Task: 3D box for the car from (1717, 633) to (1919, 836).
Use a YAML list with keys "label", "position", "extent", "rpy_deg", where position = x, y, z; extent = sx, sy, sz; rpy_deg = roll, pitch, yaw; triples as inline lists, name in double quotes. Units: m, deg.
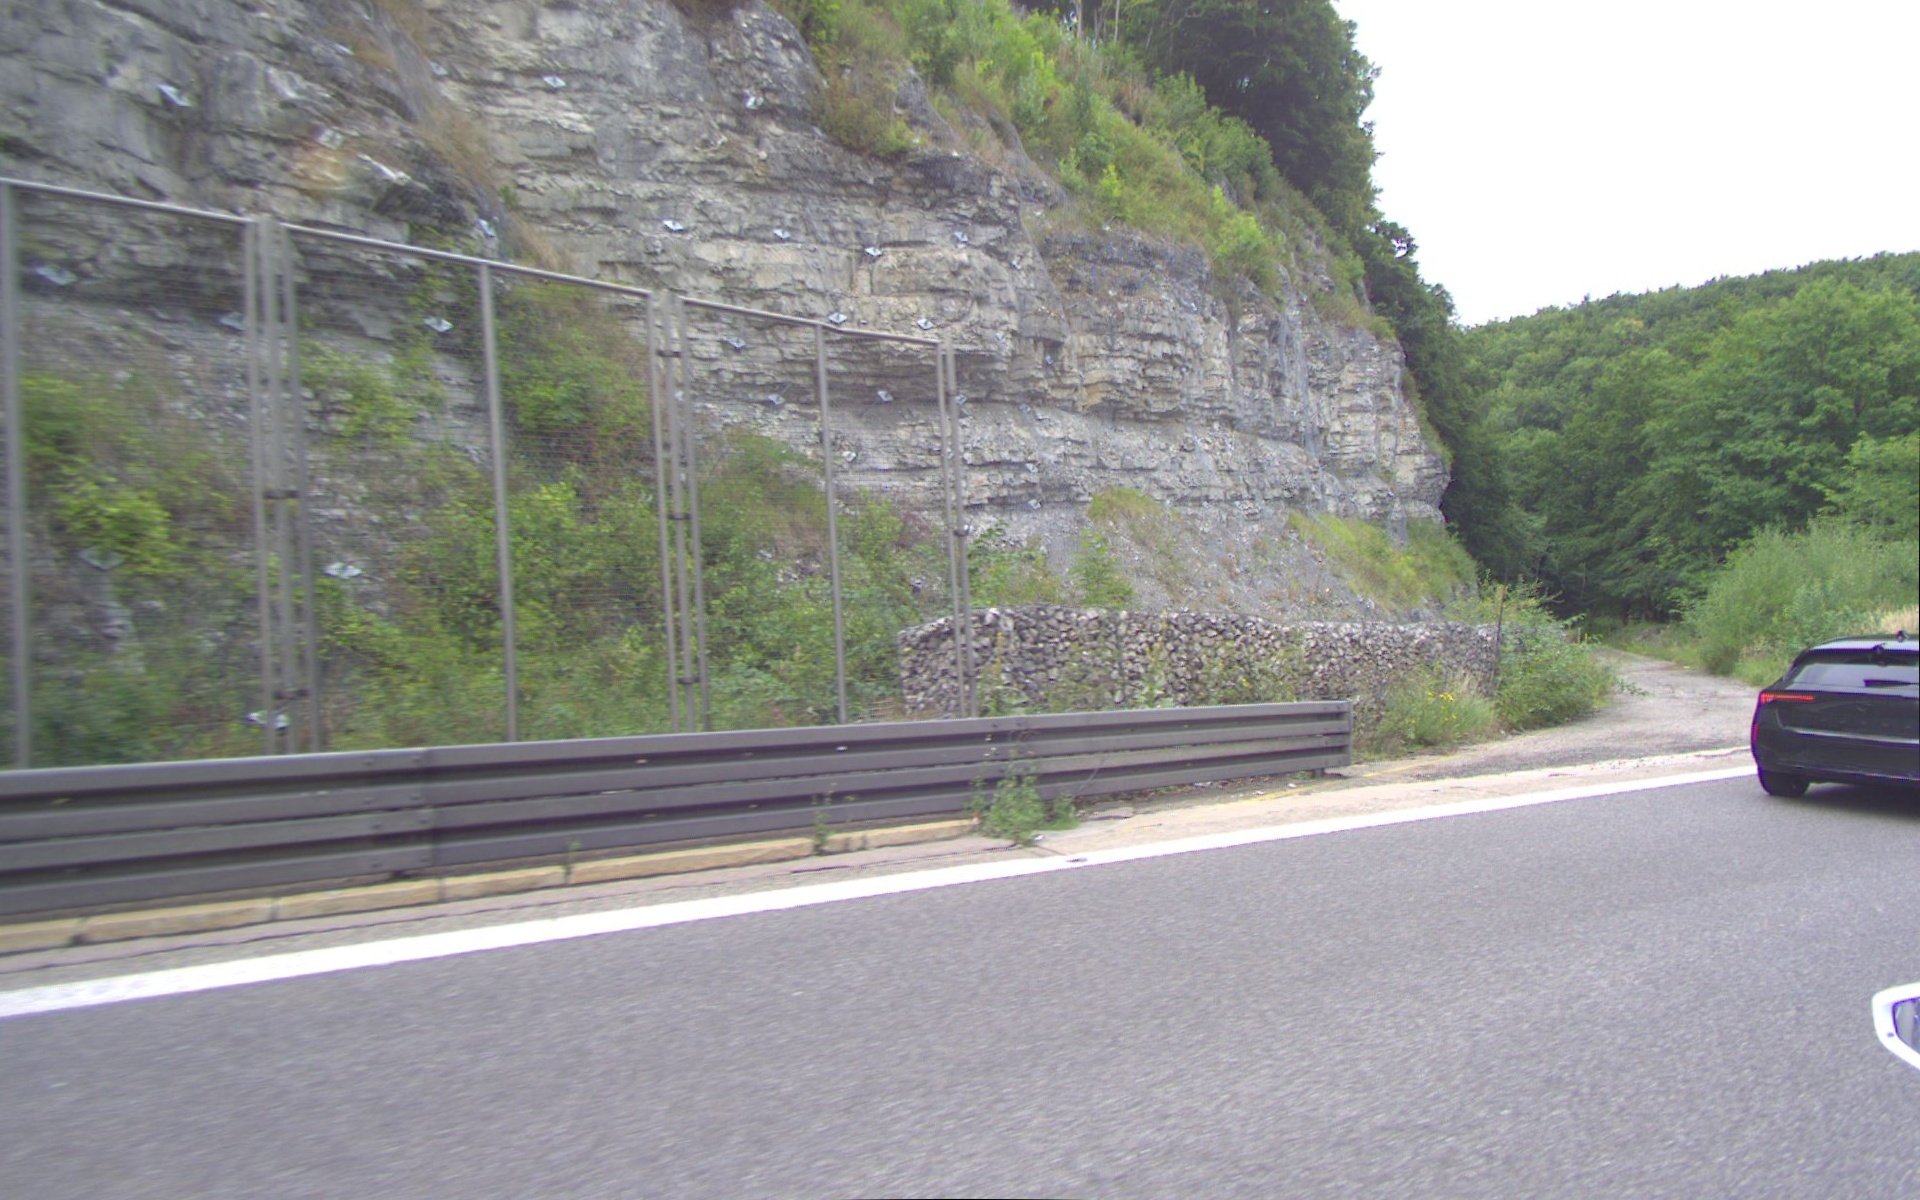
- label: "car"
  position: [8.829, 1.056, 8.938]
  extent: [4.528, 1.480, 1.765]
  rpy_deg: [1, -1, -30]
